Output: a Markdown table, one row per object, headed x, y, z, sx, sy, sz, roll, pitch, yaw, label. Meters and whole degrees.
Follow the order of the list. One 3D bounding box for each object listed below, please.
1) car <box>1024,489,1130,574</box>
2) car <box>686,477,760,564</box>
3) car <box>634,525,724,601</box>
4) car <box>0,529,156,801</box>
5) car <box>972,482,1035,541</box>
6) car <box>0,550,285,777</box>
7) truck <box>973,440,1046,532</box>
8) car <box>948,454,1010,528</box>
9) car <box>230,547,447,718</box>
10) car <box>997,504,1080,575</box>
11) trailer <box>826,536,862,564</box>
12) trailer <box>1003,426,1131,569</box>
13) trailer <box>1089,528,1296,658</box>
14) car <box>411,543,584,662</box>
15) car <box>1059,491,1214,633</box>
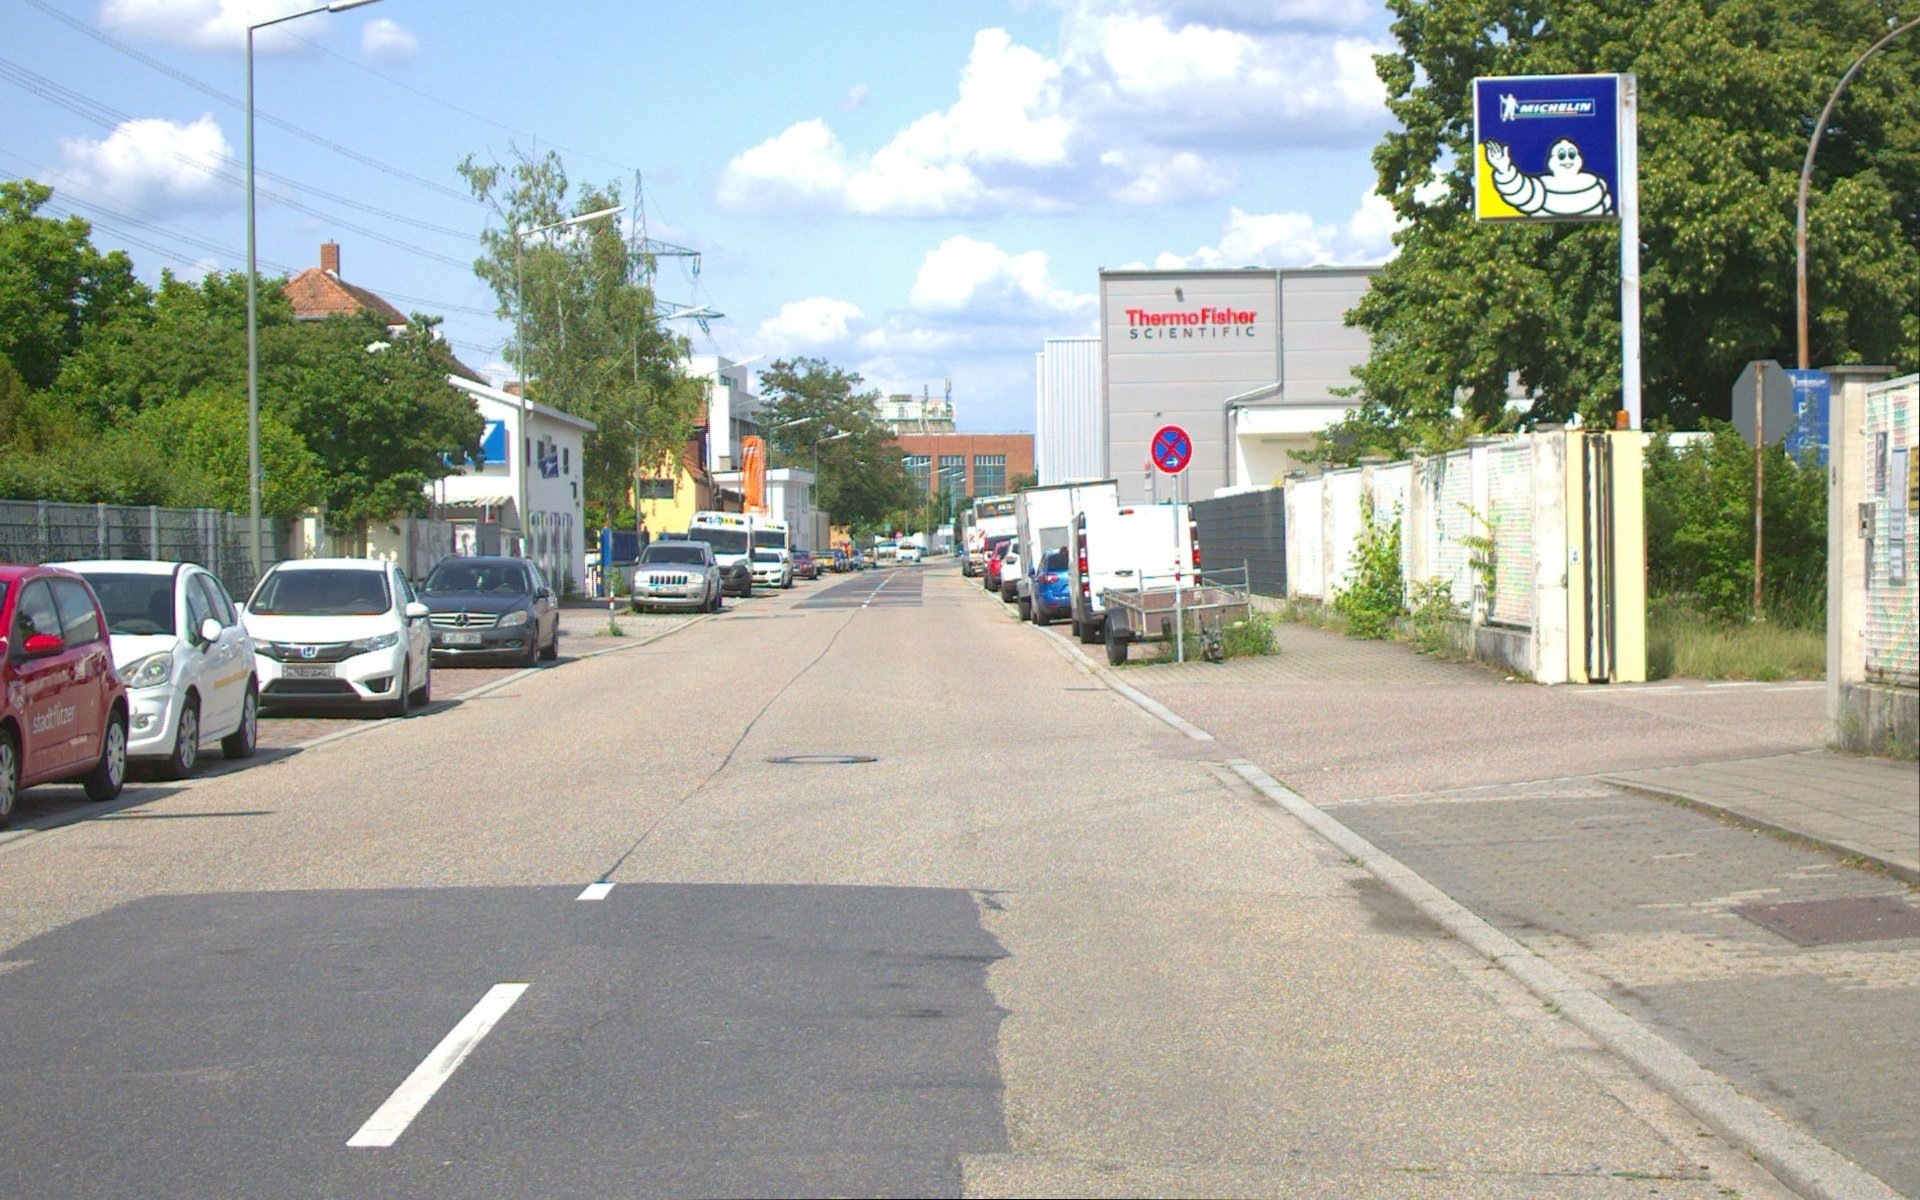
| x | y | z | sx | sy | sz | roll | pitch | yaw | label |
| --- | --- | --- | --- | --- | --- | --- | --- | --- | --- |
| 2.185 | -1.305 | 65.336 | 1.690 | 1.456 | 4.071 | -3 | 1 | -1 | car |
| -7.264 | -2.446 | 105.821 | 2.029 | 2.549 | 6.658 | 1 | 1 | -2 | car |
| -6.763 | -0.923 | 83.221 | 1.790 | 1.713 | 4.752 | 1 | 1 | -1 | car |
| -6.004 | 0.316 | 20.180 | 1.666 | 1.462 | 3.744 | 1 | 1 | 0 | car |
| 1.480 | -3.039 | 117.126 | 2.054 | 1.897 | 5.147 | -2 | 2 | 1 | car |
| -6.097 | 0.400 | 25.013 | 1.645 | 1.472 | 4.029 | -1 | 1 | -1 | car |
| 1.897 | -4.427 | 134.508 | 2.458 | 3.282 | 6.818 | -6 | 1 | 0 | truck |
| 0.905 | -5.220 | 165.310 | 2.388 | 3.351 | 6.646 | -3 | 1 | -3 | car |
| -6.125 | 0.272 | 34.266 | 1.620 | 1.517 | 4.176 | -1 | 2 | -3 | car |
| 2.046 | -1.612 | 90.508 | 1.935 | 1.687 | 4.680 | -4 | 2 | 0 | car |
| -6.868 | -2.986 | 204.258 | 1.993 | 1.551 | 4.254 | -1 | 2 | 0 | trailer |
| 2.181 | -2.120 | 72.103 | 2.204 | 2.727 | 6.222 | -4 | 1 | -1 | trailer |
| 2.815 | -0.118 | 42.625 | 1.749 | 1.412 | 4.550 | -4 | 1 | -6 | trailer |
| -6.103 | -0.007 | 45.783 | 1.805 | 1.414 | 4.497 | 1 | 2 | -2 | car |
| 2.662 | -0.629 | 53.030 | 1.993 | 2.006 | 5.650 | -2 | 1 | -1 | car |
